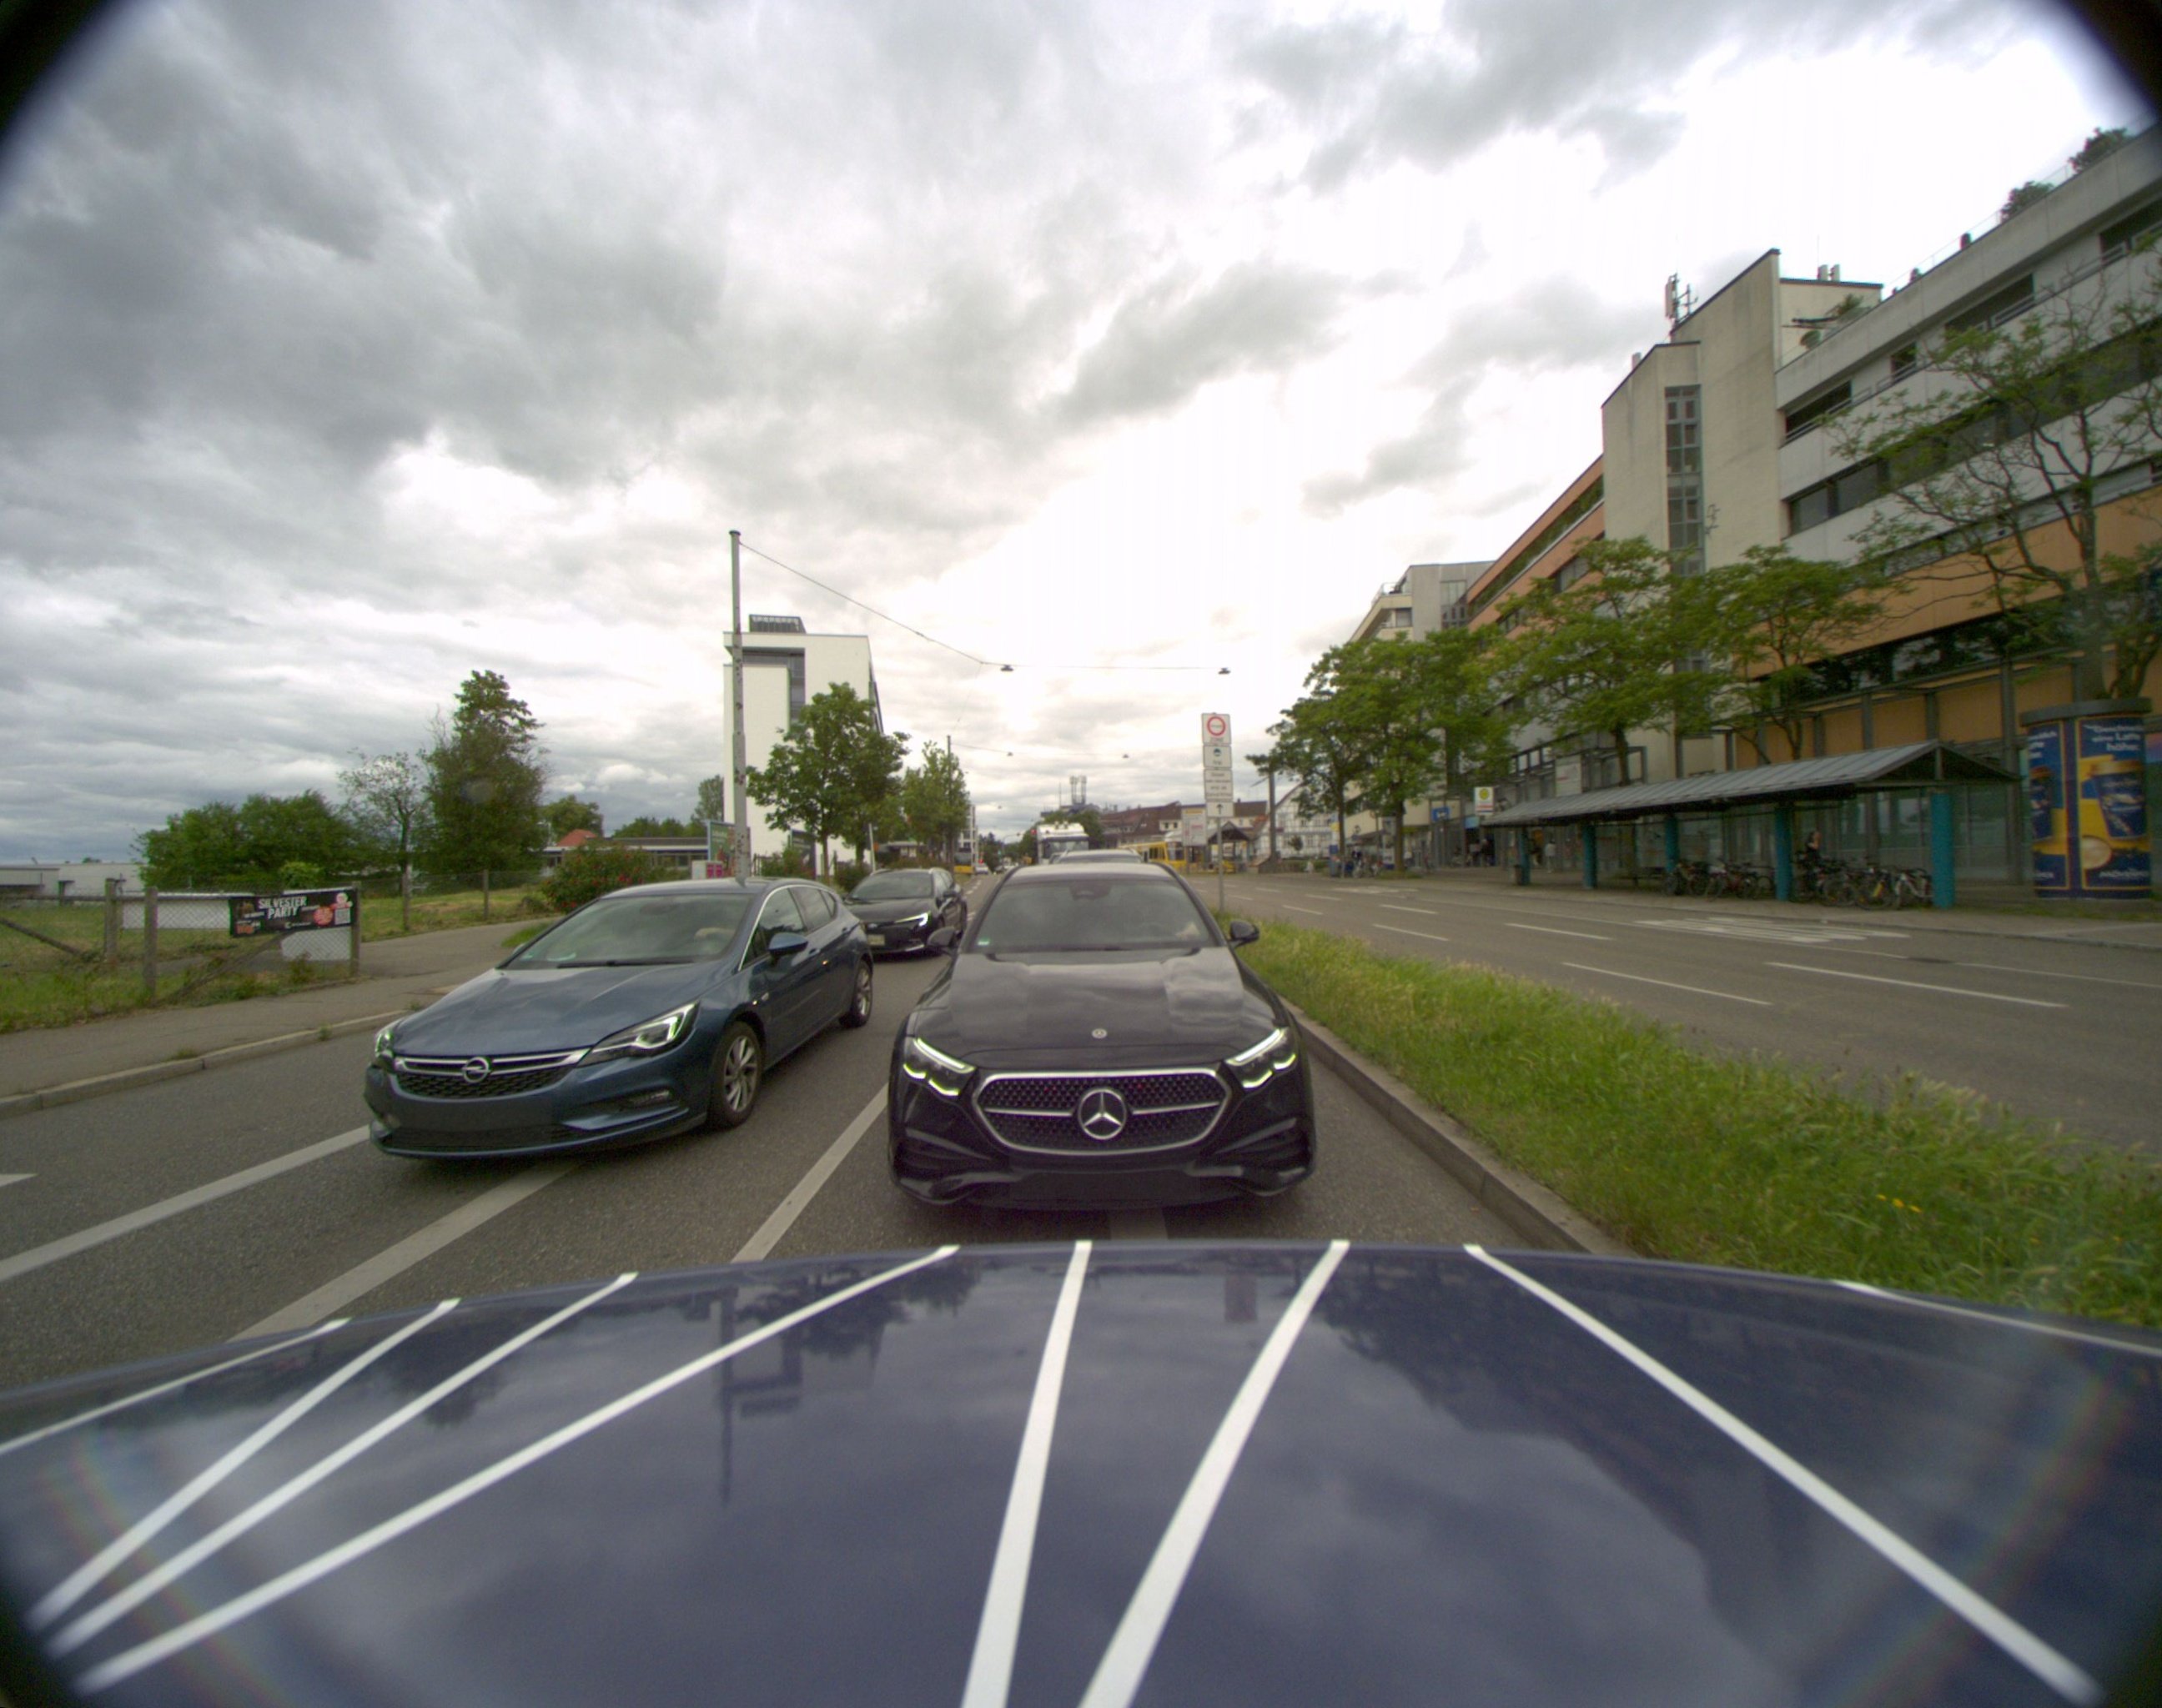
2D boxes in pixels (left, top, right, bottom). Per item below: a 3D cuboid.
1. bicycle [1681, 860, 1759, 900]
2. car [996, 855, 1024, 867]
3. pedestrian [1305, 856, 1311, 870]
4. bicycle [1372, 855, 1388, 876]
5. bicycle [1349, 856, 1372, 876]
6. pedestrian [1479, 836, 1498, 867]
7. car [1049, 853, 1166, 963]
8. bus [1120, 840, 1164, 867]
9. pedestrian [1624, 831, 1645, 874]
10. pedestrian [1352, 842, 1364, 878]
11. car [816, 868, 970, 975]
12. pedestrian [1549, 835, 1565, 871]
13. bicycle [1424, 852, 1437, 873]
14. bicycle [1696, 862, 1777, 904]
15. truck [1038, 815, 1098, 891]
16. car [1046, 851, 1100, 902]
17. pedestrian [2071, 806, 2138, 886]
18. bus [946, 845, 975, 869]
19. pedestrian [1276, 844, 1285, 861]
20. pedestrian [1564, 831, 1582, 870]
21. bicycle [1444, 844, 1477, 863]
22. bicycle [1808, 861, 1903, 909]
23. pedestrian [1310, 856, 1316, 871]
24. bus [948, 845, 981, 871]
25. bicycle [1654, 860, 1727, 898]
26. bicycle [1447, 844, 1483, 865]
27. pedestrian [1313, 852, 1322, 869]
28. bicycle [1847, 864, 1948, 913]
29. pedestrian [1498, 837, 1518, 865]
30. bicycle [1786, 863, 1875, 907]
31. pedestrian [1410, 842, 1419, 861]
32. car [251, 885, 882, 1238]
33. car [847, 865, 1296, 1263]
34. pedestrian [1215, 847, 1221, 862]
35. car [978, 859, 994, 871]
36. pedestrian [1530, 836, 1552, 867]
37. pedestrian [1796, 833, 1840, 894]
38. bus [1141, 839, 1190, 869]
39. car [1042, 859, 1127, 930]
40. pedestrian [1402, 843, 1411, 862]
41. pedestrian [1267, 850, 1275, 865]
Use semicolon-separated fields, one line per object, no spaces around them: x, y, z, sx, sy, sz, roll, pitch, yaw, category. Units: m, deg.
18.288;0.738;21.750;1.735;1.035;0.549;-4;1;-2;bicycle
-11.867;1.152;127.317;4.144;1.875;1.848;-3;1;-40;car
18.149;0.719;60.685;0.341;1.172;0.369;-1;1;-9;pedestrian
16.405;0.617;41.653;0.593;1.071;2.041;0;1;29;bicycle
15.482;0.650;42.024;0.593;1.071;2.041;0;1;38;bicycle
24.405;-0.132;45.526;0.765;1.835;0.752;-1;1;1;pedestrian
0.397;0.818;13.489;1.734;1.601;4.000;-2;0;0;car
6.937;-0.043;87.958;2.556;2.966;9.790;-1;0;-11;bus
25.644;-0.065;35.212;0.566;2.002;0.611;-1;1;6;pedestrian
18.106;0.400;49.665;0.590;2.294;0.608;-1;1;-2;pedestrian
-3.083;1.043;13.274;1.665;1.448;3.921;-2;0;0;car
24.102;-0.054;38.496;0.648;1.799;0.761;0;1;34;pedestrian
19.490;0.463;42.392;0.593;1.119;2.040;0;1;24;bicycle
17.952;0.785;20.818;1.735;1.035;0.549;-3;1;-2;bicycle
-0.763;-0.045;36.731;2.490;3.258;7.428;-1;0;-4;truck
-0.362;0.774;28.352;1.865;1.773;3.999;-1;0;-2;car
26.694;-0.207;19.823;0.710;2.002;0.793;-2;1;-10;pedestrian
-15.221;0.345;95.056;2.969;2.616;12.911;-2;1;-11;bus
23.490;-0.178;89.333;0.879;2.002;1.010;-1;1;6;pedestrian
25.467;-0.203;39.355;0.566;2.002;0.611;-1;1;6;pedestrian
27.759;-0.034;55.560;2.138;1.358;0.620;-2;1;26;bicycle
18.631;0.747;18.291;1.735;1.035;0.549;-3;1;-2;bicycle
18.540;0.760;60.770;0.341;1.172;0.369;-1;1;-9;pedestrian
-12.815;0.390;82.733;2.969;2.616;12.137;-2;1;-11;bus
18.209;0.743;22.710;1.735;1.035;0.549;-3;1;-2;bicycle
26.997;0.023;53.408;2.139;1.367;0.620;-2;1;18;bicycle
22.321;0.623;71.695;0.577;1.533;0.583;-1;1;-8;pedestrian
18.690;0.779;17.405;1.735;1.035;0.549;-2;1;-2;bicycle
25.328;-0.174;45.062;0.765;1.673;0.752;-1;1;1;pedestrian
19.030;0.769;19.316;1.735;1.035;0.549;-2;1;-2;bicycle
26.236;-0.168;59.823;0.555;1.485;0.454;-1;1;8;pedestrian
-2.908;1.048;5.534;1.826;1.402;4.000;-2;0;0;car
-0.048;0.882;5.197;1.793;1.507;4.249;-1;0;0;car
18.476;0.115;102.410;0.742;2.002;0.939;-1;1;11;pedestrian
-13.487;1.564;107.821;1.853;1.606;3.779;-3;0;-11;car
25.363;-0.139;41.878;0.765;1.673;0.752;-1;1;1;pedestrian
21.781;0.284;22.477;0.531;1.776;0.770;-1;1;-7;pedestrian
8.701;0.000;79.022;2.556;2.966;8.498;-1;0;-11;bus
0.049;0.909;18.916;1.865;1.520;3.999;-1;0;-1;car
25.668;-0.145;59.962;0.555;1.485;0.454;-1;1;8;pedestrian
19.231;0.375;77.060;0.577;1.533;0.583;-1;1;-8;pedestrian
